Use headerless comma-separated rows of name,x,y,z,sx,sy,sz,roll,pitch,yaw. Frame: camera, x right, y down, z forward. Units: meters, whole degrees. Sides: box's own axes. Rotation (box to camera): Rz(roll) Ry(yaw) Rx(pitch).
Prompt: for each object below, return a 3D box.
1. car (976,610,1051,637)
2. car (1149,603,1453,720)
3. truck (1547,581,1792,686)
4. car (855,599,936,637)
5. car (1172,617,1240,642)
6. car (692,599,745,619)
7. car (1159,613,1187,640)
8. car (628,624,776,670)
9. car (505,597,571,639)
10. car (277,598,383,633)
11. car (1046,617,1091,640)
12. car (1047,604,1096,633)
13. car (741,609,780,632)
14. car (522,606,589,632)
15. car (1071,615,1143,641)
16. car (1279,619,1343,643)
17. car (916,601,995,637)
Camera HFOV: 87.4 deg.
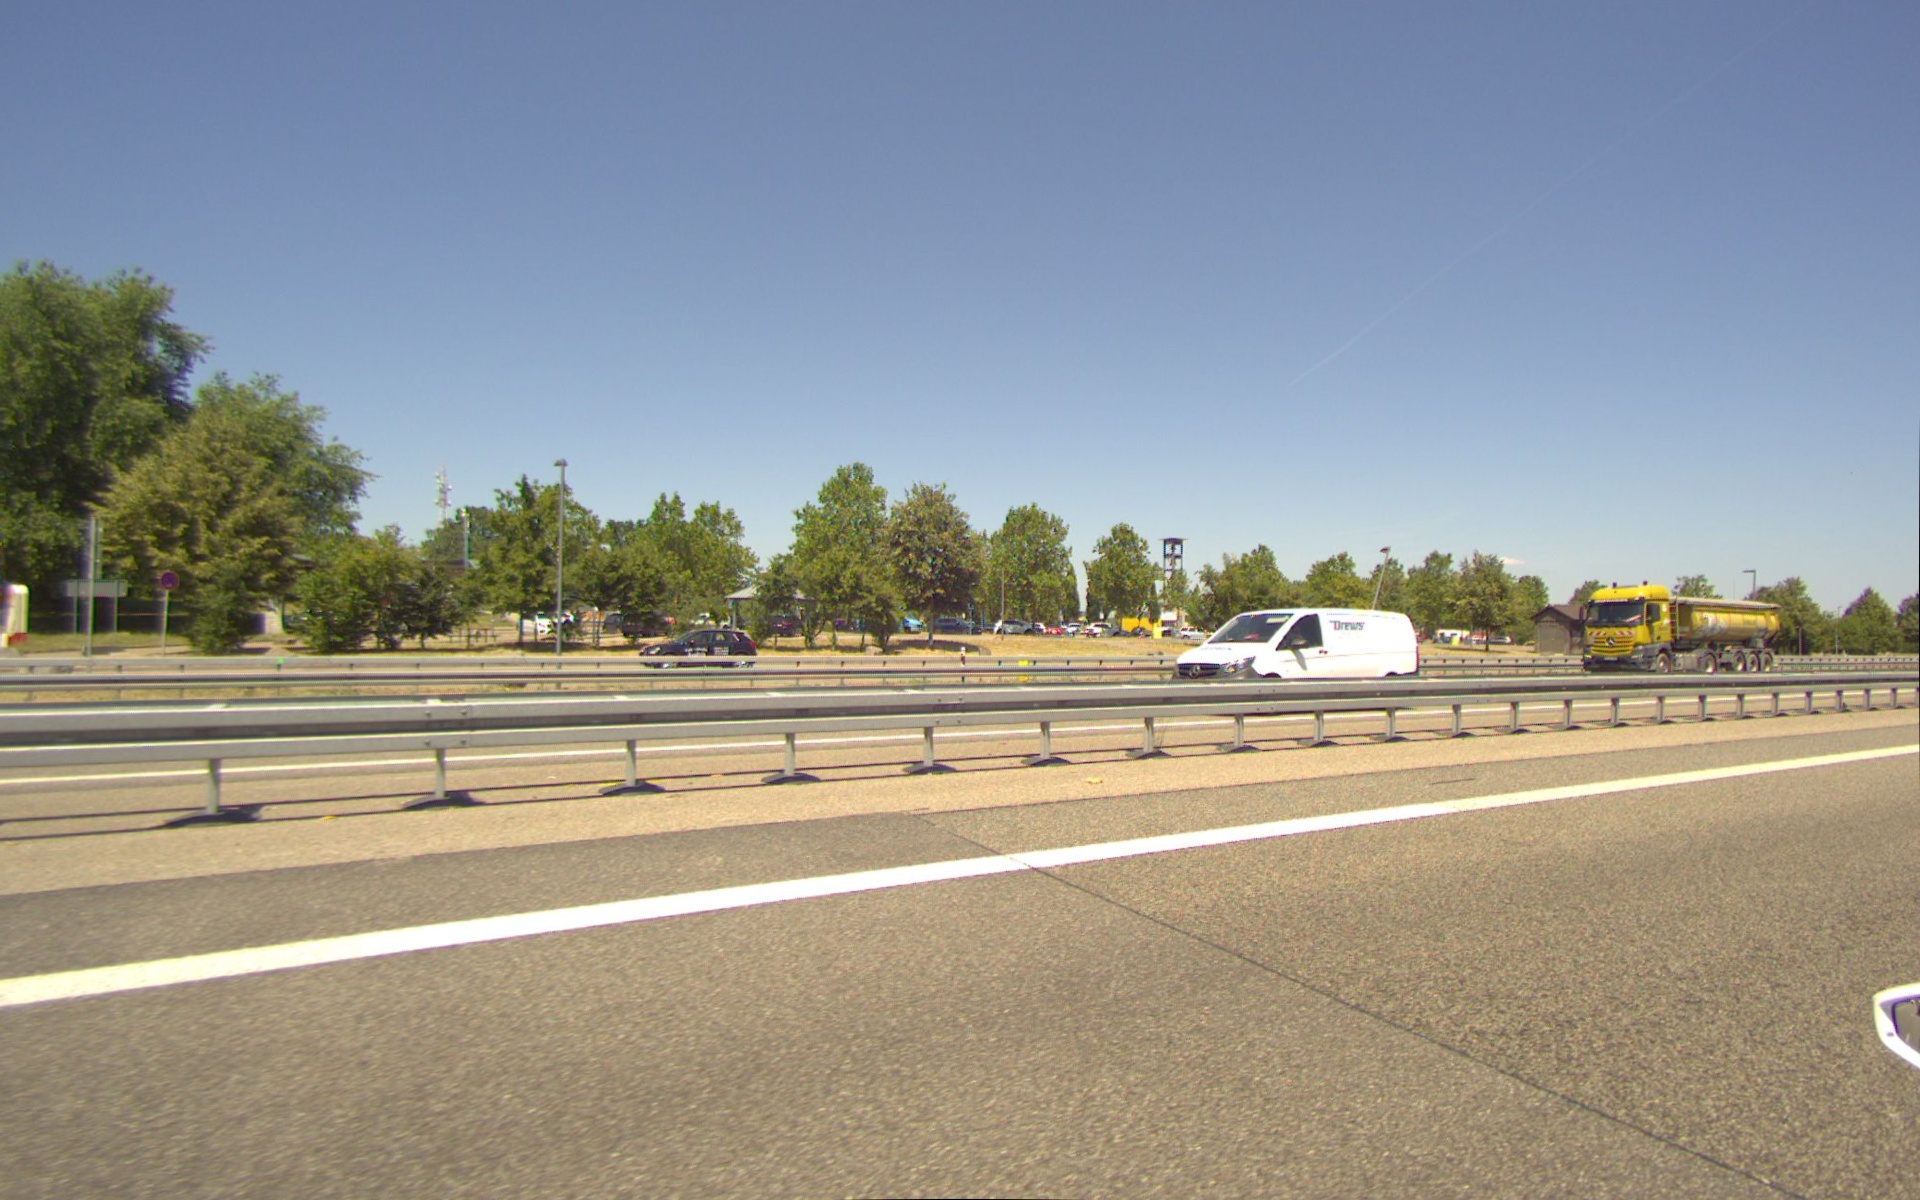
car,4.700,2.035,88.118,6.086,2.153,2.476,2,0,23
car,6.408,1.085,18.577,5.875,1.867,2.042,2,-1,-31
truck,29.844,1.444,41.902,13.372,3.860,3.156,2,-2,-30
car,-5.249,1.441,81.686,6.086,2.786,2.476,2,0,23
car,24.059,2.862,98.092,6.086,2.153,2.476,2,0,23
car,-26.810,1.000,111.700,5.205,2.018,2.447,1,1,-42
car,26.953,3.319,127.124,2.698,3.220,6.325,2,0,18
car,-9.310,1.691,36.383,4.834,1.571,2.042,2,-3,-31
car,-28.098,1.136,66.788,2.457,2.533,6.135,1,0,-39
car,-39.495,0.948,63.178,5.163,2.018,2.467,2,1,-19
car,12.711,3.336,118.638,2.712,2.387,6.293,2,0,-21
car,15.209,2.522,136.791,6.252,3.751,2.730,2,0,-31
car,-19.624,1.959,99.023,2.428,2.018,5.246,2,1,4
car,-34.887,1.627,86.705,5.163,2.018,2.467,2,1,-19
car,13.543,2.566,92.553,6.086,2.153,2.476,2,0,23
car,36.867,3.221,105.514,6.086,2.153,2.476,2,0,23
car,-0.373,1.577,84.813,6.086,2.786,2.476,2,0,23
